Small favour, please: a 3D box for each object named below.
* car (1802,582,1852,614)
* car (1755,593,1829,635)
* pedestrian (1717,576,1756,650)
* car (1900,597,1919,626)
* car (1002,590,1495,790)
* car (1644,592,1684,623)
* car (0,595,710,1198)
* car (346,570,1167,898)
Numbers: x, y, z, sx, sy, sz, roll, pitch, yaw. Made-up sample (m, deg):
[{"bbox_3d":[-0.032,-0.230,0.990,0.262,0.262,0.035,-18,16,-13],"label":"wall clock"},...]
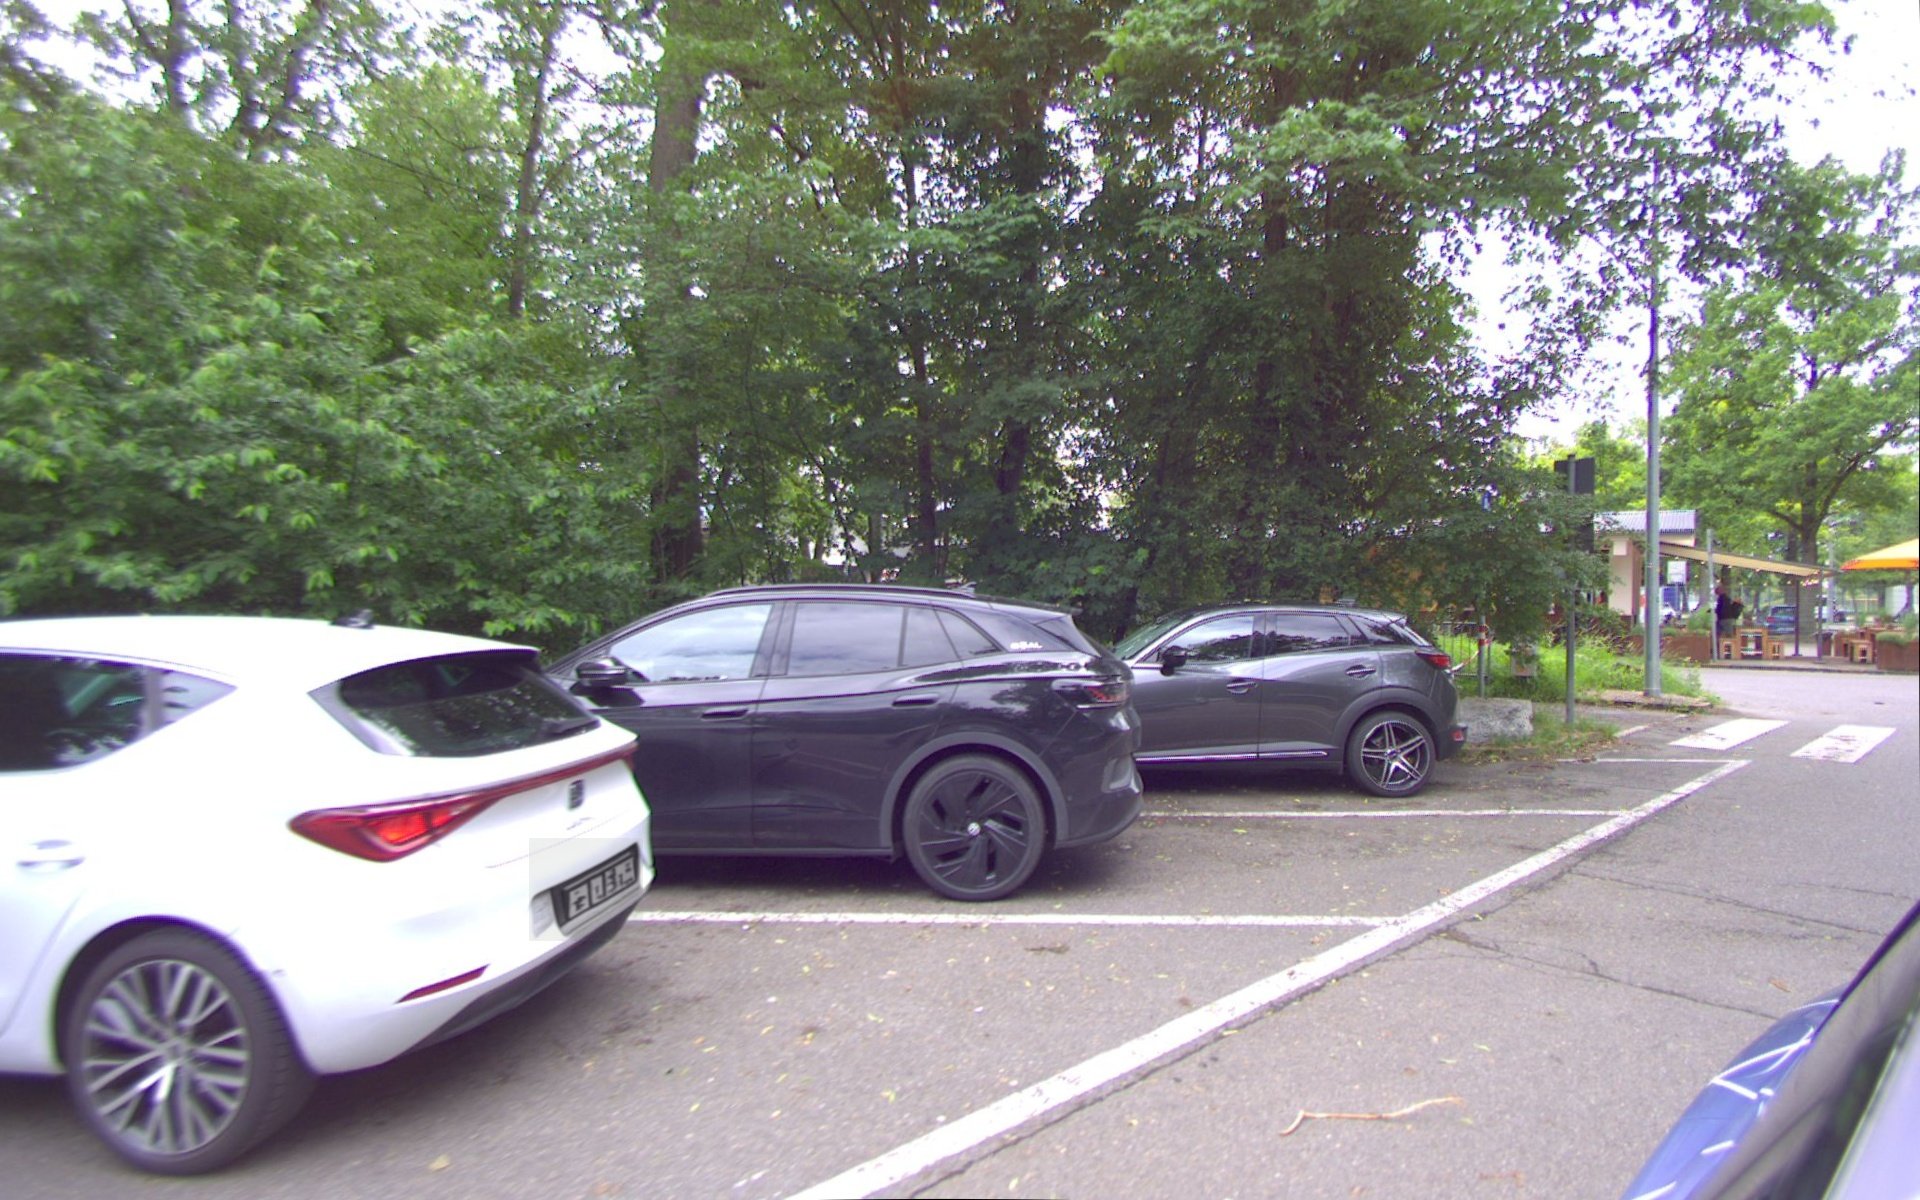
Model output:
[{"bbox_3d":[58.448,-0.146,68.308,1.863,2.065,4.538,0,0,32],"label":"car"},{"bbox_3d":[33.363,0.532,40.695,1.987,1.571,3.949,0,0,35],"label":"car"},{"bbox_3d":[19.736,0.323,25.731,0.747,1.854,0.699,0,-1,41],"label":"pedestrian"},{"bbox_3d":[62.465,0.744,65.306,1.863,1.802,4.246,0,0,32],"label":"car"},{"bbox_3d":[2.235,0.689,8.640,3.723,1.511,1.698,0,0,4],"label":"car"},{"bbox_3d":[47.875,0.470,68.861,1.985,2.039,3.954,0,0,32],"label":"car"},{"bbox_3d":[-3.182,0.725,3.659,4.050,1.457,1.866,0,0,8],"label":"car"},{"bbox_3d":[-1.022,0.662,6.016,4.126,1.600,1.956,0,0,3],"label":"car"}]
